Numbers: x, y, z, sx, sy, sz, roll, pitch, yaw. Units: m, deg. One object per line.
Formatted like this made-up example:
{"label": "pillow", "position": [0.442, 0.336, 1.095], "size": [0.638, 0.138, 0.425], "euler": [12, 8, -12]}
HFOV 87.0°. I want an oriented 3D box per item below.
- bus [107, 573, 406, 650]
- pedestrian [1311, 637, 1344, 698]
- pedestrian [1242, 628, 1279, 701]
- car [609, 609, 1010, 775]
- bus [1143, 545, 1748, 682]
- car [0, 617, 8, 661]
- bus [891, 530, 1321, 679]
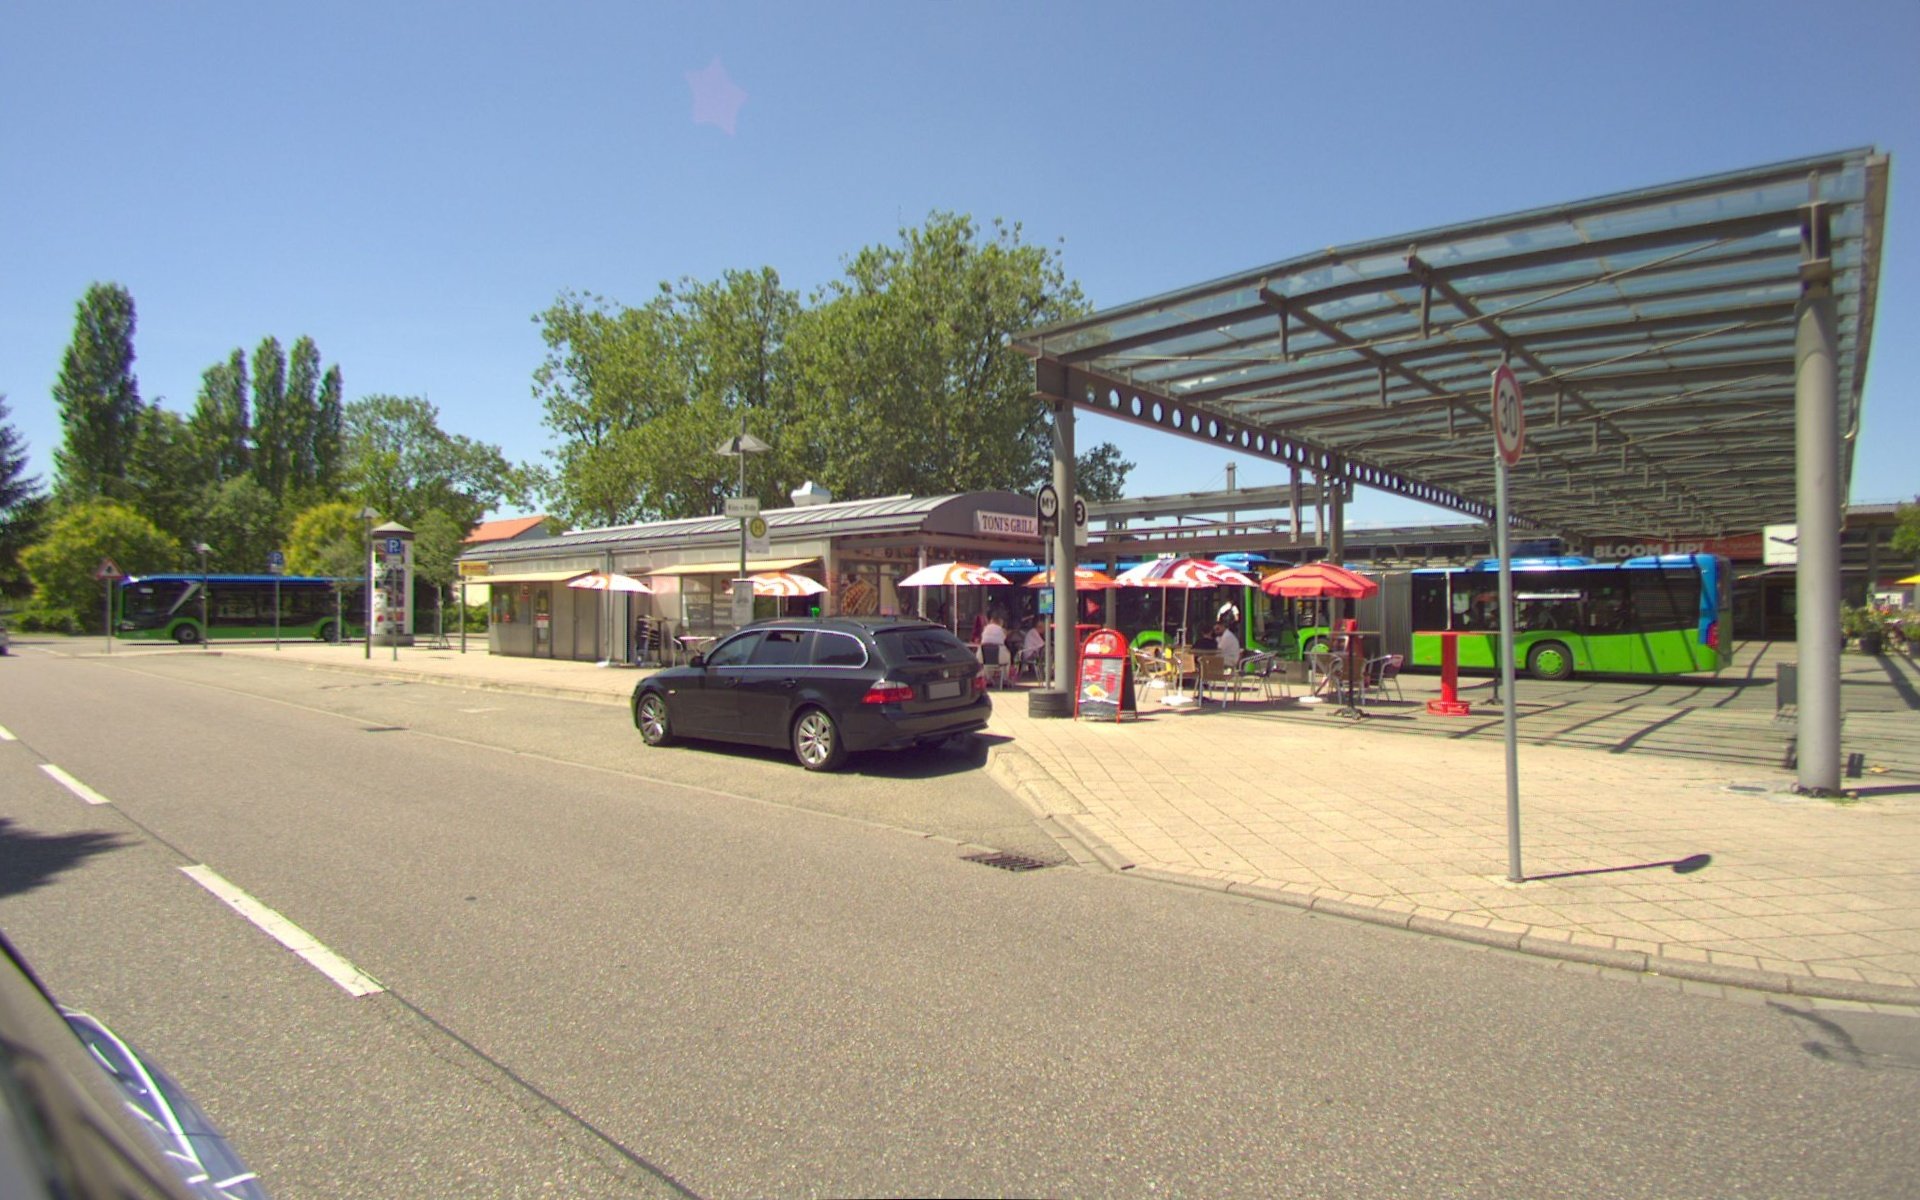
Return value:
{"label": "bus", "position": [-34.369, 0.537, 50.240], "size": [12.011, 3.553, 2.176], "euler": [0, -1, -27]}
{"label": "pedestrian", "position": [5.792, 1.059, 15.976], "size": [0.421, 0.930, 0.370], "euler": [1, 0, 12]}
{"label": "pedestrian", "position": [4.767, 1.011, 16.067], "size": [0.365, 1.131, 0.427], "euler": [1, -1, -15]}
{"label": "car", "position": [-1.849, 0.853, 11.268], "size": [4.782, 1.489, 1.701], "euler": [0, -1, 40]}
{"label": "bus", "position": [12.566, 0.438, 28.943], "size": [15.521, 3.060, 2.835], "euler": [-1, -2, 44]}
{"label": "car", "position": [-33.873, 1.300, 34.403], "size": [4.157, 1.455, 1.795], "euler": [-2, -3, 42]}
{"label": "bus", "position": [3.303, 0.211, 27.222], "size": [11.844, 3.258, 2.933], "euler": [-1, -2, 42]}
